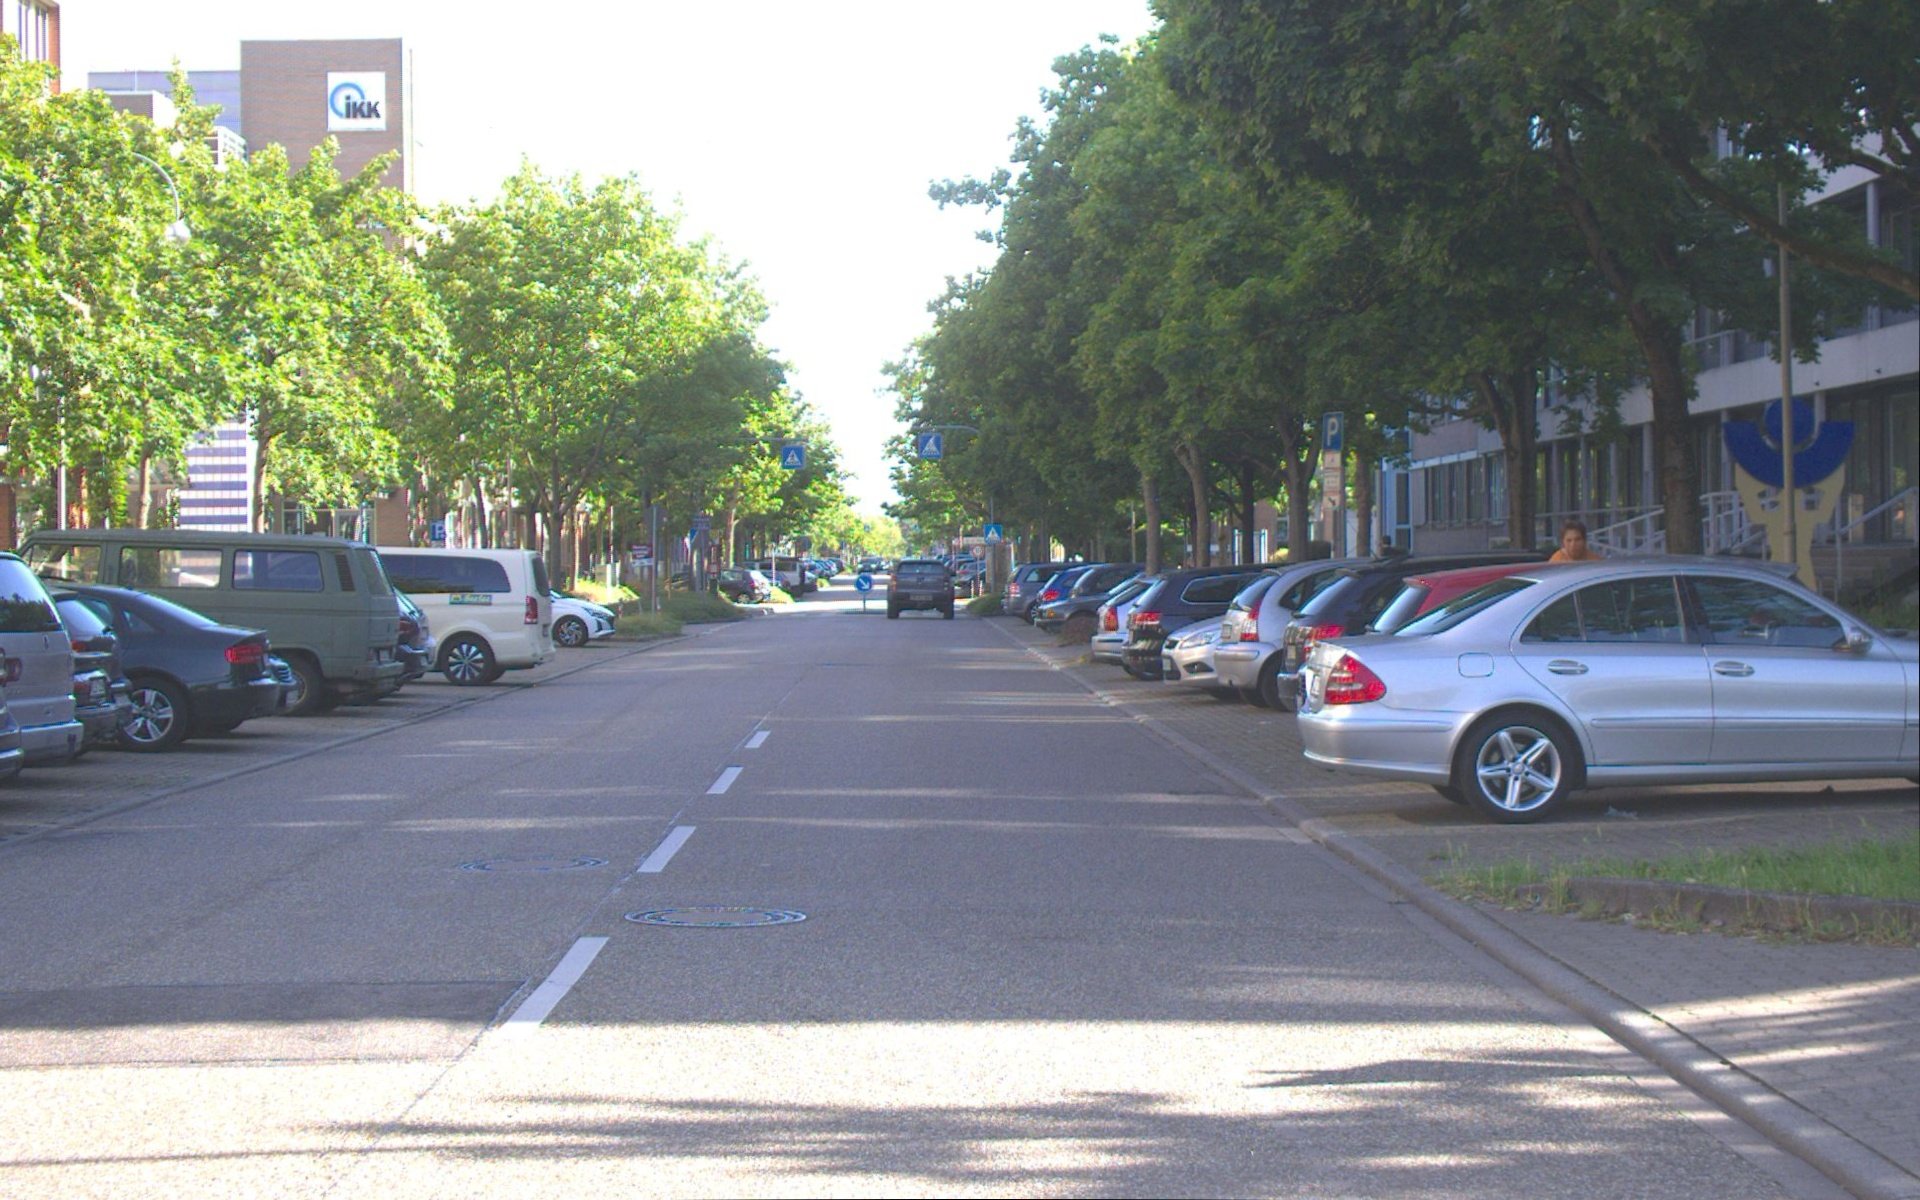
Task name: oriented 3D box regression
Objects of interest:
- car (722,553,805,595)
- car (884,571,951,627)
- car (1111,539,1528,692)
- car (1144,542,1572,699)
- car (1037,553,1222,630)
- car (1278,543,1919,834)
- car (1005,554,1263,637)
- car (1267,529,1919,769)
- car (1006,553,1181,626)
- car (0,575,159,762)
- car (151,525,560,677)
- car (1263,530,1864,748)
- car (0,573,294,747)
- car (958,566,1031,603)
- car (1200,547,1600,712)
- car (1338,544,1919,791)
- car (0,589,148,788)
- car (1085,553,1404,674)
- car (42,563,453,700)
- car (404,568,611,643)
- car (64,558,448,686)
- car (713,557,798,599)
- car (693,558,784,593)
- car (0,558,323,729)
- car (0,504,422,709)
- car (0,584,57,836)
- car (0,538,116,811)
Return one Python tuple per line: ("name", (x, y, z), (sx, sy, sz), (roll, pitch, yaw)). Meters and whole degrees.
("car", (-9.978, -1.323, 175.002), (3.987, 2.007, 2.000), (-1, 0, 3))
("car", (-1.303, -0.043, 104.945), (1.993, 1.634, 4.000), (1, 0, -1))
("car", (4.133, 0.166, 40.050), (4.591, 1.488, 1.763), (-3, 0, -1))
("car", (4.293, 0.207, 37.546), (4.285, 1.488, 2.004), (-2, 0, -4))
("car", (3.710, -0.189, 75.709), (3.949, 1.509, 1.813), (-2, 0, 1))
("car", (4.257, 0.467, 20.108), (4.578, 1.470, 1.747), (-2, 1, 0))
("car", (3.373, -0.096, 67.288), (4.824, 1.415, 2.032), (-2, 0, -2))
("car", (4.601, 0.344, 25.468), (4.515, 1.537, 1.922), (-2, 0, 3))
("car", (3.482, -0.281, 89.958), (4.350, 1.698, 1.813), (-2, 0, -3))
("car", (-8.458, 0.501, 27.459), (3.726, 1.422, 1.725), (1, 1, -1))
("car", (-8.234, 0.005, 47.167), (5.257, 1.960, 1.943), (1, 1, -1))
("car", (4.834, 0.297, 28.022), (4.515, 1.537, 1.922), (-2, 0, 0))
("car", (-7.728, 0.492, 29.732), (3.725, 1.422, 1.725), (1, 1, -6))
("car", (1.939, -0.855, 194.056), (3.986, 2.007, 2.000), (-1, 0, -2))
("car", (4.441, 0.289, 35.002), (3.742, 1.488, 1.617), (-2, 0, -4))
("car", (4.537, 0.426, 23.019), (3.838, 1.442, 1.922), (-2, 0, 3))
("car", (-8.234, 0.586, 24.830), (4.320, 1.354, 1.757), (1, 1, -1))
("car", (3.720, 0.167, 45.454), (3.969, 1.415, 1.710), (-2, 0, -2))
("car", (-8.211, 0.342, 39.876), (4.321, 1.472, 1.943), (1, 1, 2))
("car", (-9.151, 0.095, 69.692), (3.986, 1.481, 1.807), (0, 0, -2))
("car", (-8.674, 0.251, 42.598), (4.321, 1.472, 1.943), (1, 1, 2))
("car", (-10.201, -1.118, 171.627), (3.987, 2.007, 2.000), (-1, 0, 3))
("car", (-9.698, -1.082, 150.204), (3.847, 1.468, 1.813), (1, 0, -7))
("car", (-8.247, 0.379, 32.476), (4.132, 1.522, 1.725), (1, 1, 0))
("car", (-8.262, 0.048, 37.189), (4.488, 2.083, 2.083), (1, 1, 2))
("car", (-7.666, 0.590, 19.934), (4.402, 1.422, 1.773), (1, 1, -2))
("car", (-7.917, 0.424, 22.522), (4.320, 1.711, 1.962), (1, 1, -3))
